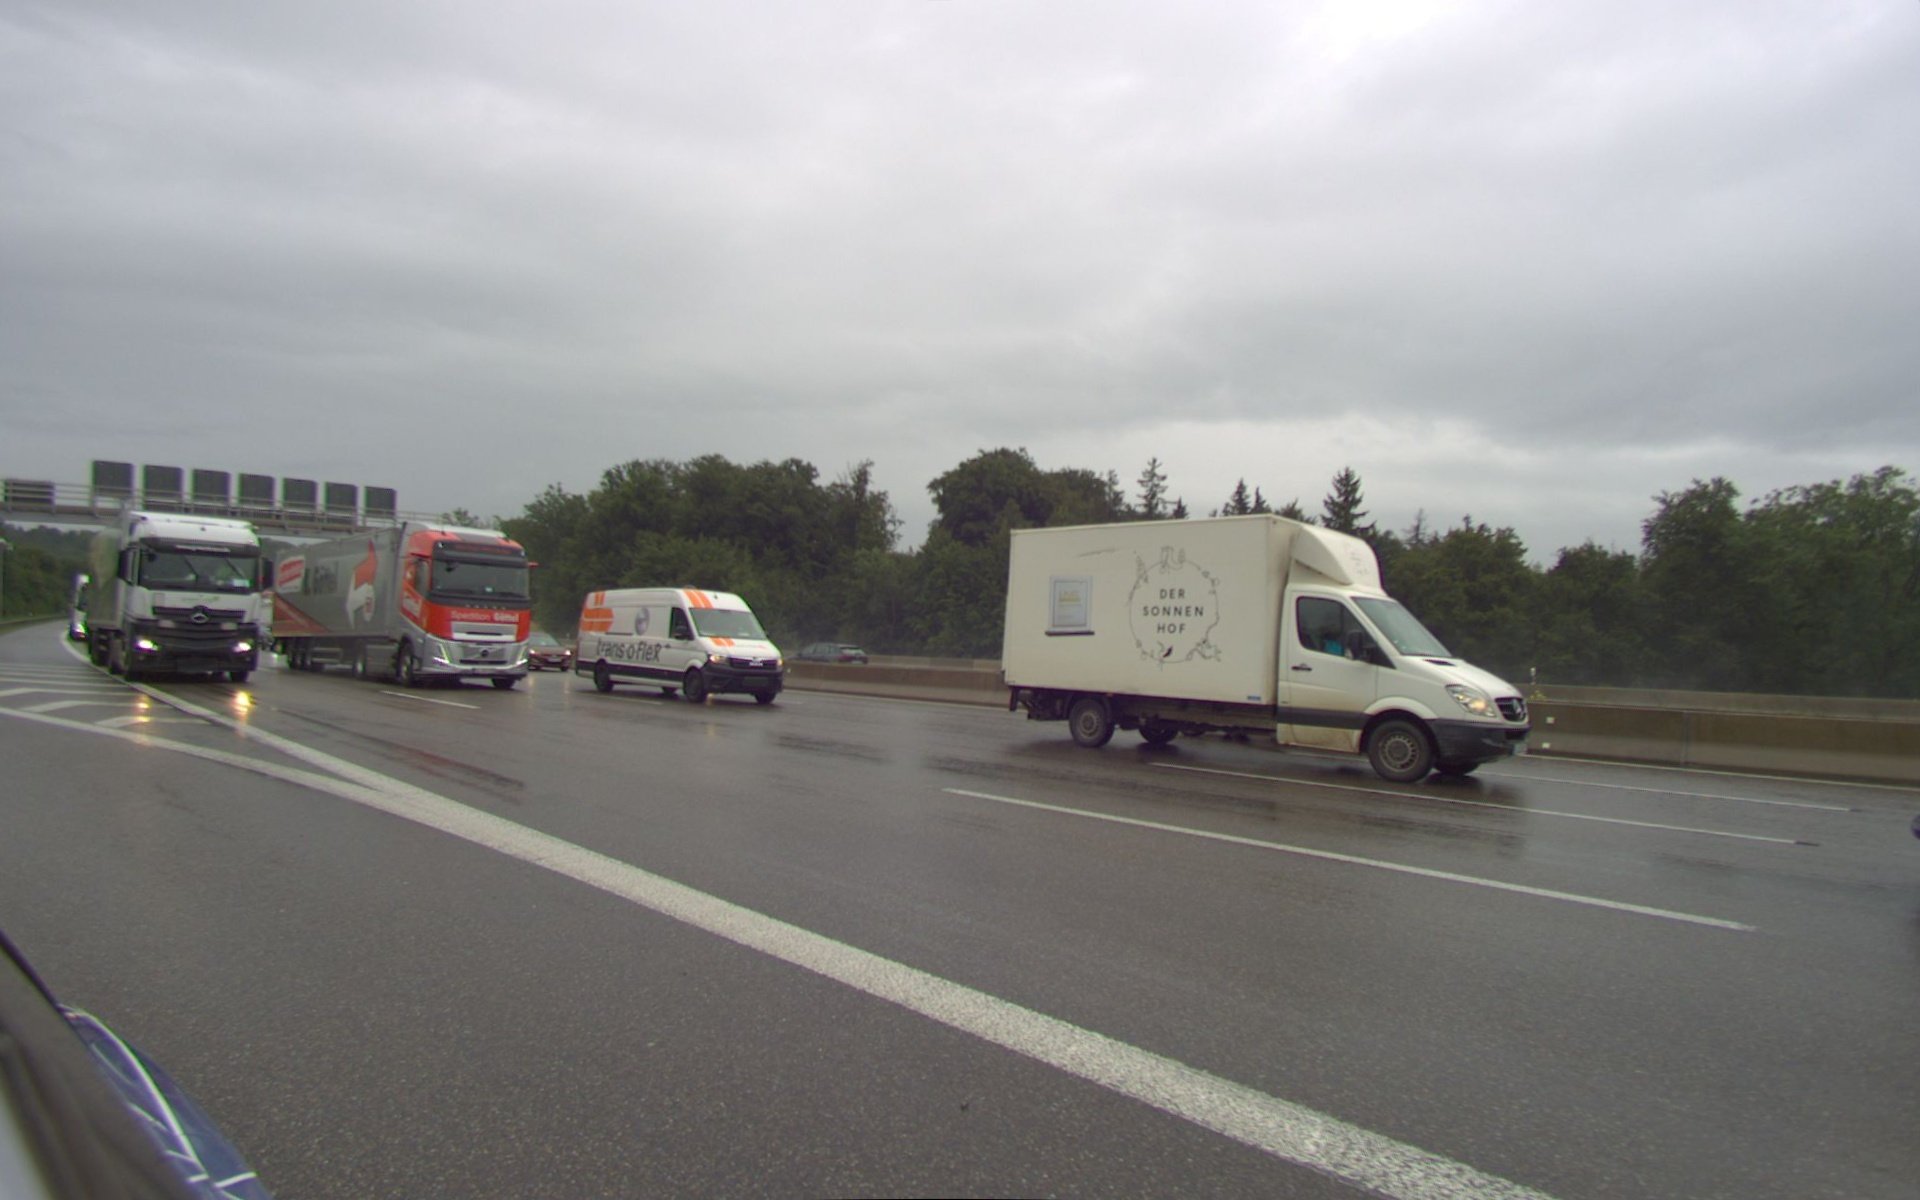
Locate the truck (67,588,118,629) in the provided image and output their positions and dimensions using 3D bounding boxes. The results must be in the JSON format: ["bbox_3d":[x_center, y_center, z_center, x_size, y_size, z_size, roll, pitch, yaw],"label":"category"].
[{"bbox_3d":[-86.357,0.762,100.687,3.486,3.876,9.446,-1,1,-43],"label":"truck"}]

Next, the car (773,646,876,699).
[{"bbox_3d":[-5.861,3.050,43.400,1.970,2.029,4.740,1,-2,-45],"label":"car"}]

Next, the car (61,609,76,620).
[{"bbox_3d":[-151.900,2.508,172.386,1.792,1.770,4.692,3,-2,-42],"label":"car"}]

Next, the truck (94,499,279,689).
[{"bbox_3d":[-19.567,-0.052,25.430,2.883,4.130,6.726,4,-3,-43],"label":"truck"}]

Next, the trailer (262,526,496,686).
[{"bbox_3d":[-17.944,0.290,30.466,2.596,3.893,13.685,4,-4,-44],"label":"trailer"}]

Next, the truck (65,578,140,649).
[{"bbox_3d":[-54.484,0.663,64.150,3.306,4.101,12.590,-1,1,-42],"label":"truck"}]

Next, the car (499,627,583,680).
[{"bbox_3d":[-16.421,2.031,39.592,1.730,1.785,4.004,-1,1,-44],"label":"car"}]

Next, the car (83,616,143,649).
[{"bbox_3d":[-41.453,1.576,49.495,1.905,1.534,4.766,4,-3,-44],"label":"car"}]

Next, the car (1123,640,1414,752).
[{"bbox_3d":[4.978,1.488,16.828,1.596,1.534,4.418,4,-3,-44],"label":"car"}]

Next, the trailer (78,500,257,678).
[{"bbox_3d":[-23.975,-0.169,30.173,2.883,4.237,13.650,4,-3,-43],"label":"trailer"}]

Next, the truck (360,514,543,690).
[{"bbox_3d":[-12.607,0.130,24.981,2.596,3.893,4.591,4,-4,-45],"label":"truck"}]

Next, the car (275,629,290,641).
[{"bbox_3d":[-120.032,6.129,179.361,1.967,2.029,4.585,1,-2,-37],"label":"car"}]

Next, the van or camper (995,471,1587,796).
[{"bbox_3d":[3.961,0.418,13.517,2.550,3.228,7.135,4,-3,-45],"label":"van or camper"}]

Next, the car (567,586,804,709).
[{"bbox_3d":[-6.771,1.059,24.160,2.123,2.507,7.371,4,-3,-44],"label":"car"}]
